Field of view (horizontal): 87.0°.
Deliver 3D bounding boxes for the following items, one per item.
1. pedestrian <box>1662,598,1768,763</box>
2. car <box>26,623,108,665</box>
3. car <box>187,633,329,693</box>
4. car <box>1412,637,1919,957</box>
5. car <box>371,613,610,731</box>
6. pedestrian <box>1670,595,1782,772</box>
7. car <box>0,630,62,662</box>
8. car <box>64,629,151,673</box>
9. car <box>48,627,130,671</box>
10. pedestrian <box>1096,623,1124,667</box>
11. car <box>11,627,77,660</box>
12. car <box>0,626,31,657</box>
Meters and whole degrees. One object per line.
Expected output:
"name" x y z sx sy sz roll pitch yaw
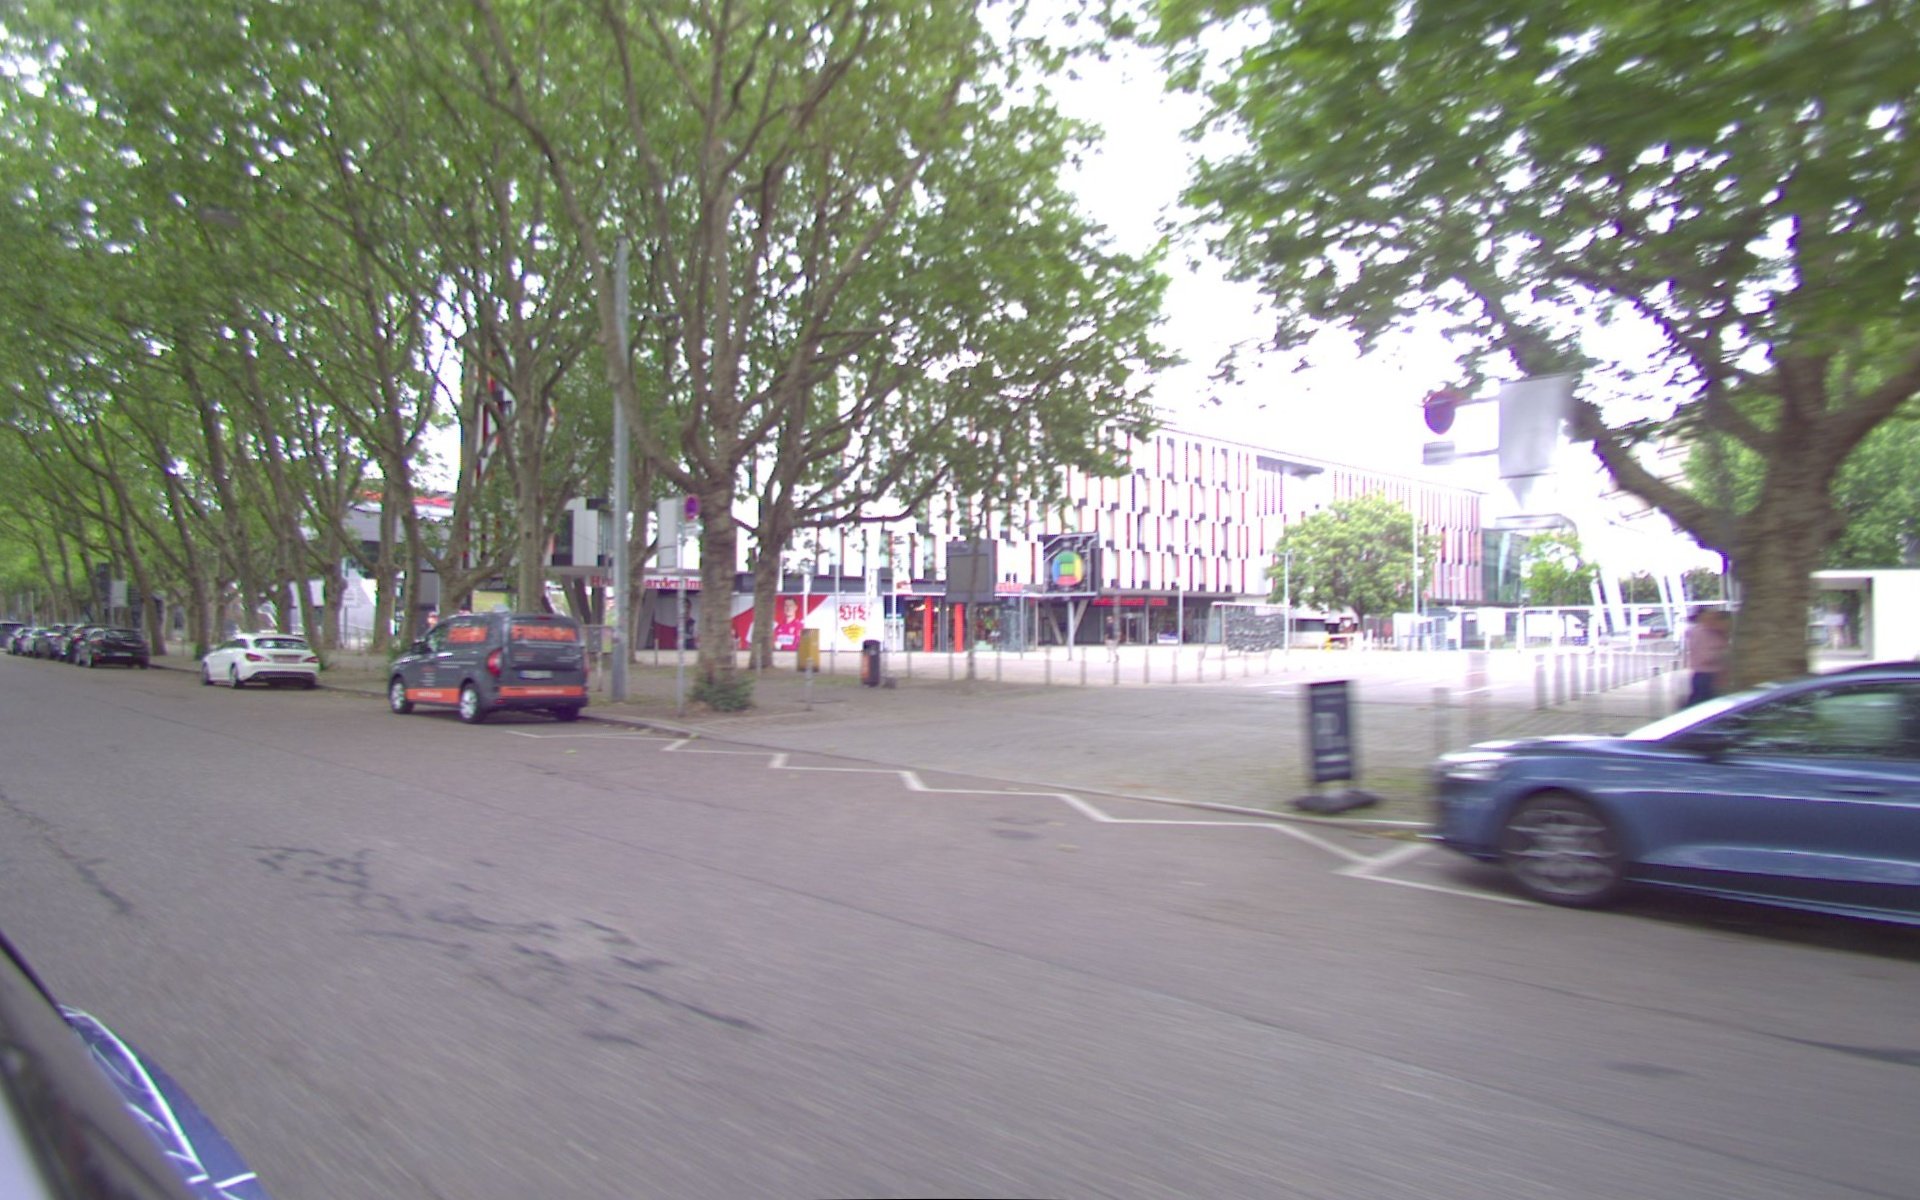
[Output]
"pedestrian" 8.405 0.867 11.277 0.567 1.755 0.769 1 -2 -34
"car" -40.117 1.958 45.441 4.642 1.731 1.851 -1 -5 38
"car" -18.462 1.618 26.533 4.749 1.413 1.884 -1 -5 41
"car" 5.099 0.957 5.440 4.572 1.497 1.706 -2 -2 41
"car" -8.140 1.161 17.360 4.635 1.764 1.929 -1 -4 41
"pedestrian" 8.084 0.850 10.697 0.569 1.783 0.769 1 -2 -34
"car" -48.558 2.406 52.725 5.144 1.542 2.061 -2 -4 43
"car" -32.176 1.906 38.165 4.441 1.506 1.814 -2 -6 42
"car" -36.079 2.026 41.871 4.927 1.656 1.916 -2 -6 43
"pedestrian" 5.844 1.746 39.498 0.808 1.704 0.716 -2 -3 45
"car" -44.384 2.106 49.023 4.228 1.467 1.814 -2 -6 41
"car" -58.258 2.499 61.637 4.610 1.809 1.876 -1 -5 41
